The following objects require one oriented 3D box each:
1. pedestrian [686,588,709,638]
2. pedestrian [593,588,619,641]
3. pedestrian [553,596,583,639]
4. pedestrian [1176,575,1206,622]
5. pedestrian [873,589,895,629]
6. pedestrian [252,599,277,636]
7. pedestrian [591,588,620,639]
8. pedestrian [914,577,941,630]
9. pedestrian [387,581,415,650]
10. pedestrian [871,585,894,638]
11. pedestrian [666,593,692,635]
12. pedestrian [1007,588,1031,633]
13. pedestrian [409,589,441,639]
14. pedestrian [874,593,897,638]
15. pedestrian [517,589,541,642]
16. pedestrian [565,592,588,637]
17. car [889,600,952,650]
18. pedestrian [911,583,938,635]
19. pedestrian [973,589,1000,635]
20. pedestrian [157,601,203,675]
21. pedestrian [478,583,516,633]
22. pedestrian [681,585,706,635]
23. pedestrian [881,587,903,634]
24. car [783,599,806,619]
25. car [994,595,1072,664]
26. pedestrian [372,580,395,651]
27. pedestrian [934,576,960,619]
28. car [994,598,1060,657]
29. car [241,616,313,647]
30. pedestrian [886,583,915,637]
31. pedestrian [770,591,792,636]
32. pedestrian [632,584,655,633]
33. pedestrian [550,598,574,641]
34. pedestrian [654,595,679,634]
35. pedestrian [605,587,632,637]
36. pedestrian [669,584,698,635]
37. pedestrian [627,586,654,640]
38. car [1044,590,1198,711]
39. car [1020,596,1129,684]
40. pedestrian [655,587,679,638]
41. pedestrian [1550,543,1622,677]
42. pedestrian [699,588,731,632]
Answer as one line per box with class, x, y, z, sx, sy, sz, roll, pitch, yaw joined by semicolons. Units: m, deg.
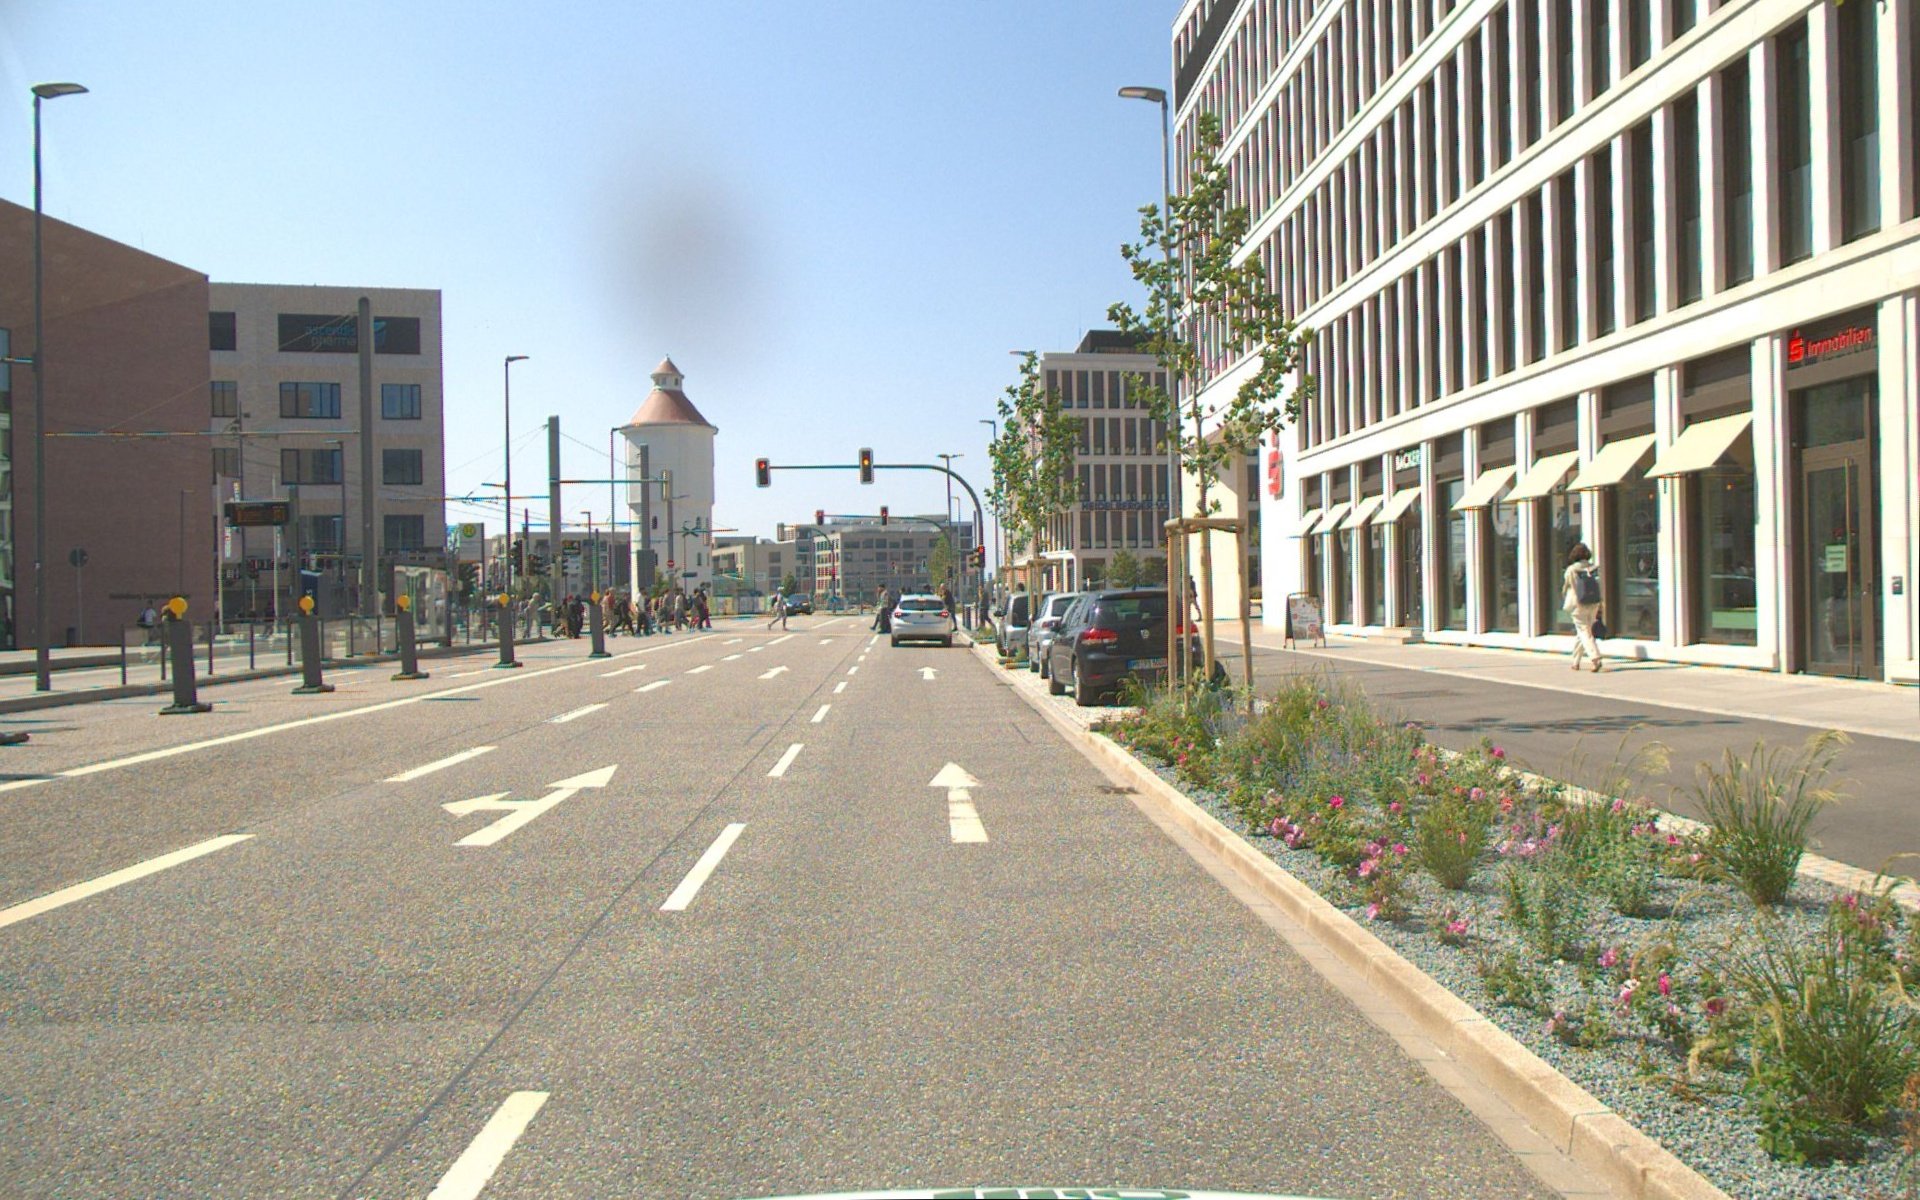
pedestrian;-10.281;0.509;64.882;0.750;1.923;0.691;-2;0;-1
pedestrian;-13.256;0.534;61.942;0.871;1.923;0.691;-2;0;-7
pedestrian;-15.458;0.687;65.220;0.891;1.665;0.814;-2;0;3
pedestrian;8.437;-0.044;60.476;0.970;1.684;0.692;-2;0;0
pedestrian;-3.257;0.380;70.886;0.869;1.675;0.796;-2;0;2
pedestrian;-30.058;0.747;71.498;0.696;1.599;0.890;-2;0;-2
pedestrian;-13.629;0.499;63.537;0.869;1.923;0.797;-2;0;3
pedestrian;-1.202;0.138;61.392;0.871;1.923;0.795;-2;0;-7
pedestrian;-15.070;0.408;44.597;0.654;1.852;0.718;0;0;-25
pedestrian;-2.875;0.419;61.673;0.715;1.923;0.821;-2;0;4
pedestrian;-11.543;0.578;67.942;0.880;1.703;1.007;-2;0;-20
pedestrian;2.226;0.392;62.633;0.750;1.648;0.692;-2;0;15
pedestrian;-20.854;0.552;64.465;0.958;1.923;0.827;-1;-1;-1
pedestrian;-2.831;0.580;62.680;0.777;1.675;0.891;-2;0;0
pedestrian;-15.834;0.550;60.780;0.623;1.923;0.796;-1;0;0
pedestrian;-14.278;0.536;61.596;0.620;1.646;0.768;-2;0;4
car;-1.125;0.729;48.136;1.735;1.419;3.531;0;-1;0
pedestrian;-1.336;0.330;62.219;0.871;1.923;0.795;-2;0;-7
pedestrian;0.987;0.452;61.570;0.871;1.663;0.691;-2;0;-7
pedestrian;-19.877;0.963;42.148;0.794;1.852;0.825;0;0;-1
pedestrian;-18.356;0.298;65.628;1.145;1.923;1.060;-2;2;0
pedestrian;-10.598;0.397;65.759;0.824;1.923;0.691;-2;0;-1
pedestrian;-2.608;0.402;63.584;0.750;1.764;0.691;-2;0;-1
car;-13.136;0.714;131.413;1.555;1.557;3.690;-1;-1;-3
car;1.650;0.644;38.365;1.524;1.498;3.469;-2;0;-2
pedestrian;-15.144;0.410;43.422;0.542;1.852;0.596;0;0;-23
pedestrian;-0.516;-0.107;65.575;0.872;1.675;0.794;-2;0;-11
car;1.716;0.691;43.120;1.400;1.414;3.999;-2;0;-2
car;-42.454;1.926;102.814;3.874;1.848;1.792;0;-1;-14
pedestrian;-2.167;0.367;60.496;0.993;1.923;0.797;-2;0;-5
pedestrian;-7.129;0.539;65.988;0.750;1.764;0.691;-2;0;-1
pedestrian;-12.671;0.330;66.188;0.719;1.923;0.714;0;0;3
pedestrian;-15.216;0.734;63.220;0.713;1.603;0.642;-2;0;3
pedestrian;-12.674;0.617;71.443;0.869;1.675;0.796;-2;0;2
pedestrian;-13.308;0.477;64.475;0.870;1.923;0.796;-2;0;-2
pedestrian;-11.534;0.396;68.978;1.005;2.049;0.949;-2;0;-20
pedestrian;-11.748;0.469;60.789;0.871;1.923;0.691;-2;0;-7
car;2.140;0.634;22.964;1.701;1.500;3.980;-1;0;0
car;2.035;0.686;30.242;1.573;1.412;3.813;-3;0;-2
pedestrian;-11.339;0.488;63.981;0.750;1.923;0.691;-2;0;-1
pedestrian;8.539;0.133;22.595;0.615;1.772;0.814;-1;0;-2
pedestrian;-10.526;0.406;71.133;1.156;1.852;1.069;-2;0;2
